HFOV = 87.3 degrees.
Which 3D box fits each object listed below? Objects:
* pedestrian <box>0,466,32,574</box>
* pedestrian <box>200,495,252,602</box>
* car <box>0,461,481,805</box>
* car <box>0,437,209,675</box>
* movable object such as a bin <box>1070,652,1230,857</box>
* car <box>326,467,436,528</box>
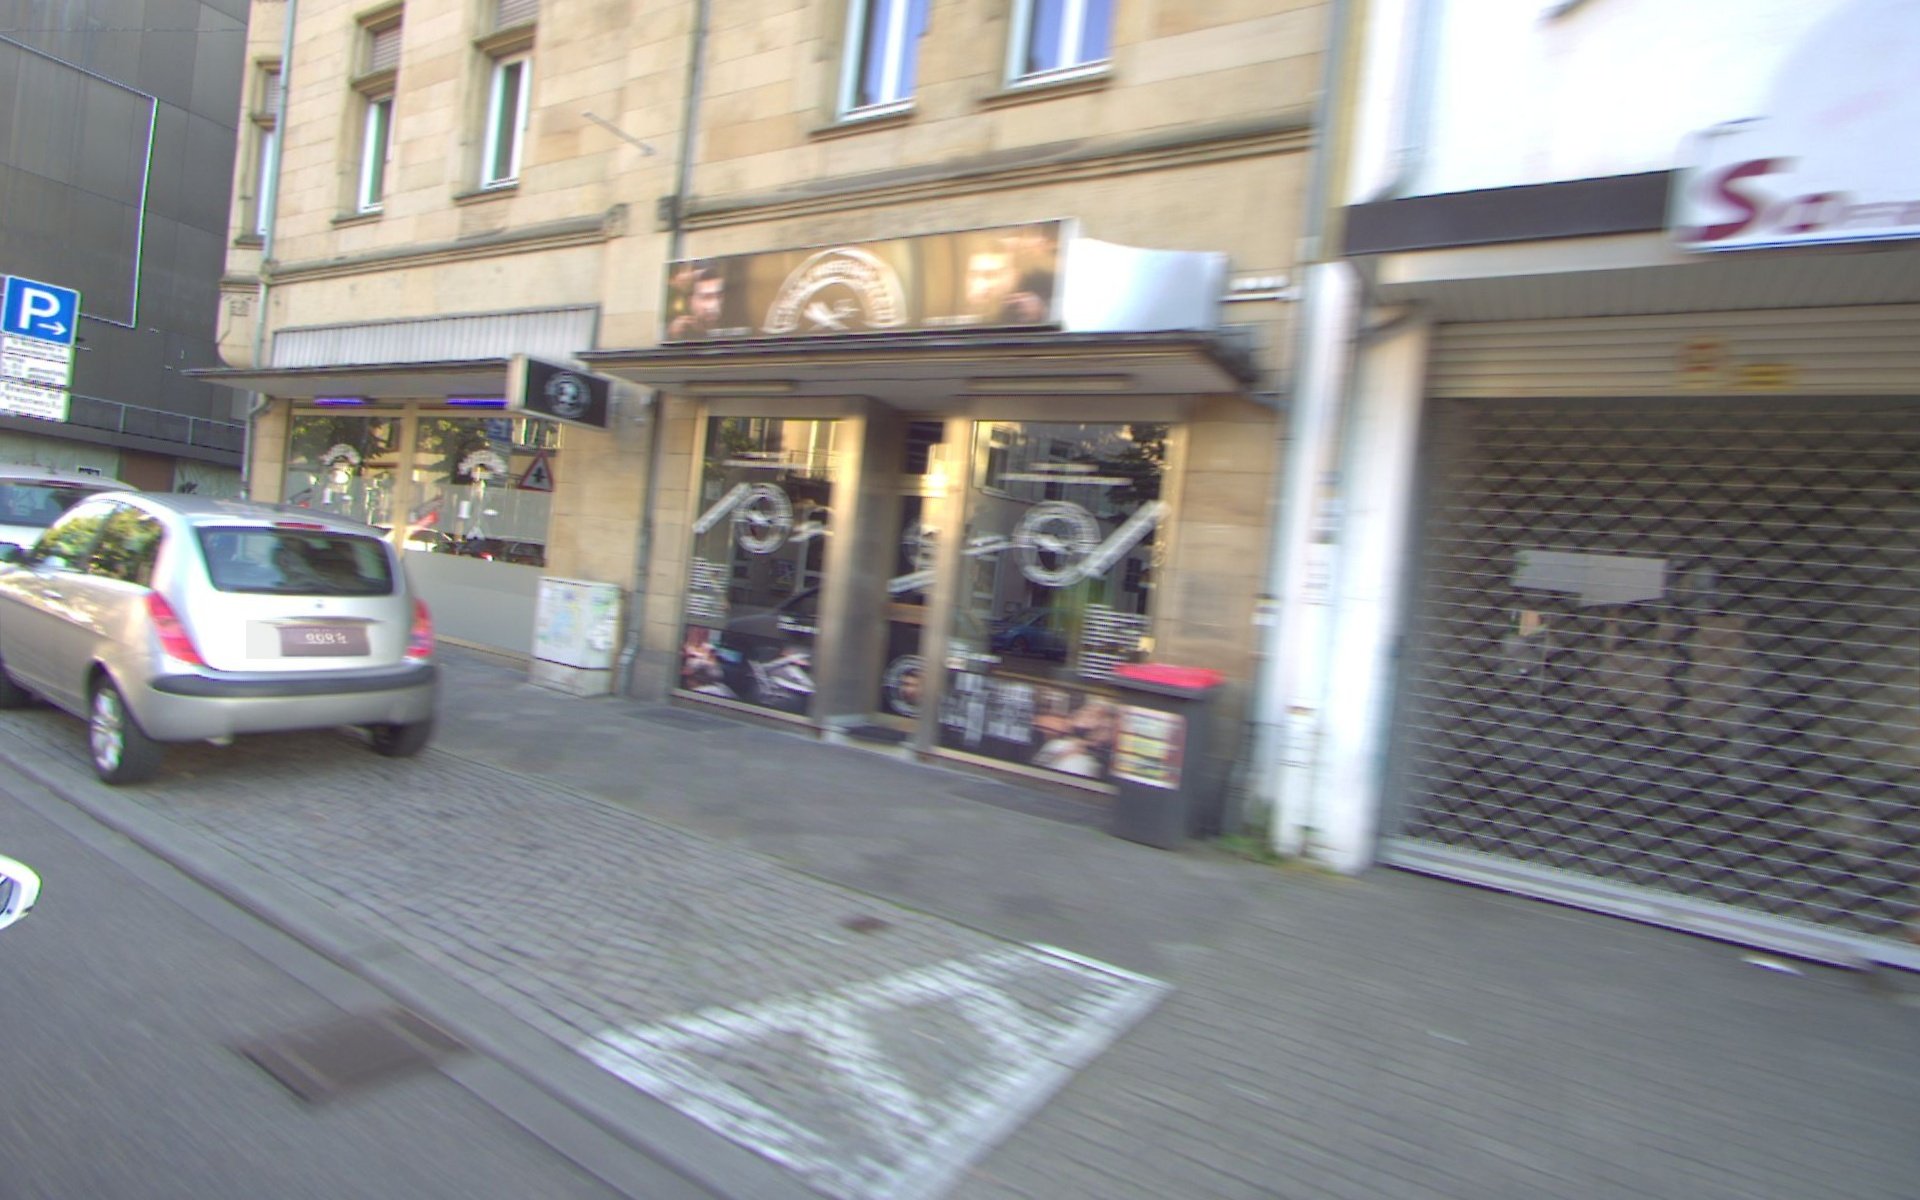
[{"bbox_3d":[-16.885,-1.444,17.408,1.202,1.788,0.756,8,0,32],"label":"pedestrian"},{"bbox_3d":[-12.242,-0.860,16.775,0.578,1.686,0.421,8,0,40],"label":"pedestrian"},{"bbox_3d":[-5.088,0.028,6.619,3.936,1.581,1.680,8,2,35],"label":"car"},{"bbox_3d":[-8.701,-0.516,9.040,3.933,1.792,1.698,8,1,32],"label":"car"},{"bbox_3d":[1.172,0.920,6.178,0.653,1.098,0.596,8,0,33],"label":"movable object such as a bin"},{"bbox_3d":[-21.914,-3.847,38.233,1.593,1.634,3.490,8,-1,10],"label":"car"}]
